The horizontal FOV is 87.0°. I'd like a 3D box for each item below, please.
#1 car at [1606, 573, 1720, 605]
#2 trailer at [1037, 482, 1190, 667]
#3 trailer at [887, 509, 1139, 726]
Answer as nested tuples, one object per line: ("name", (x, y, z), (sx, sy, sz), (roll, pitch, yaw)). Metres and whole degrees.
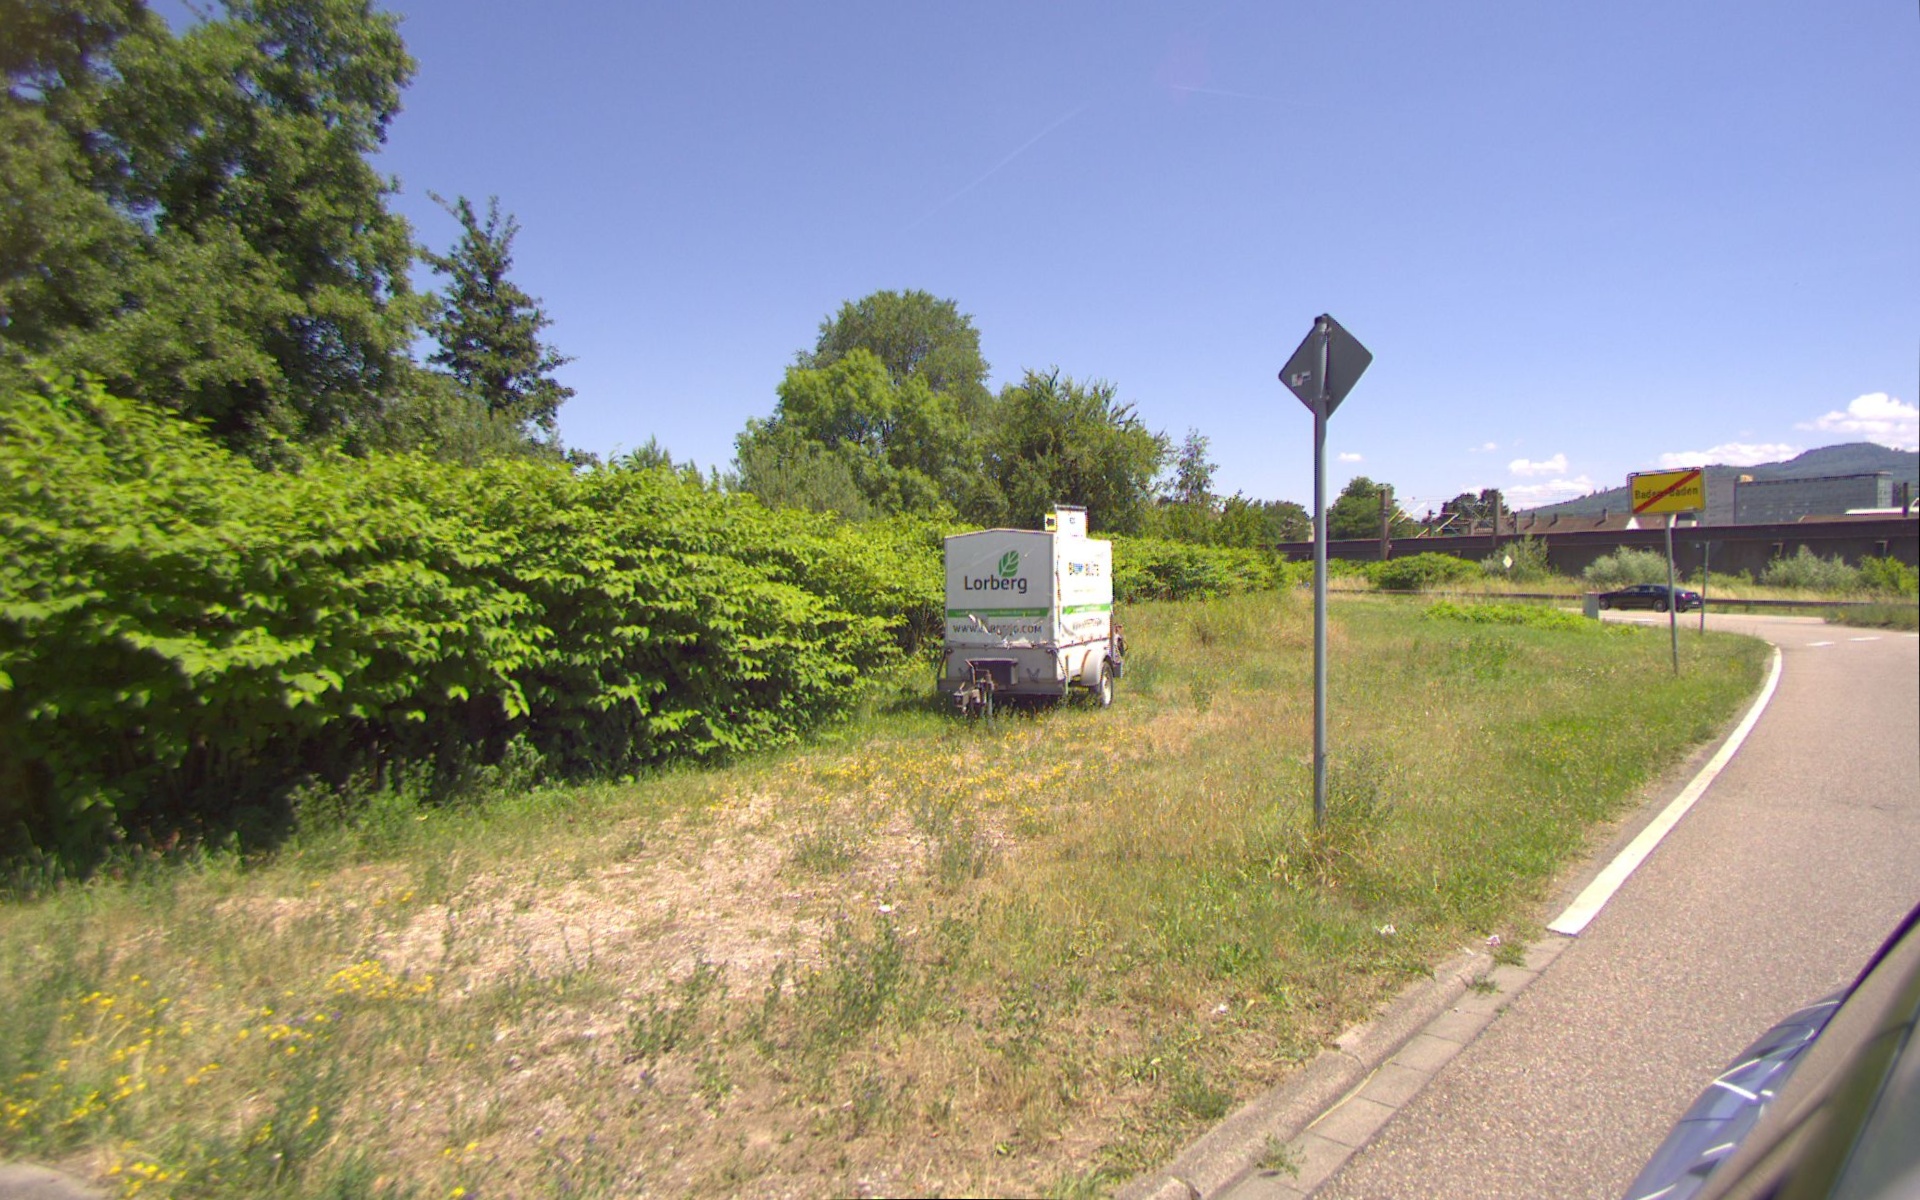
("car", (35.690, -0.589, 51.544), (1.751, 1.472, 4.528), (0, 2, -22))
("trailer", (2.606, -0.417, 16.606), (1.830, 2.703, 3.125), (0, 1, 22))
("trailer", (0.810, 0.105, 11.990), (1.830, 2.103, 3.942), (0, 2, 22))
